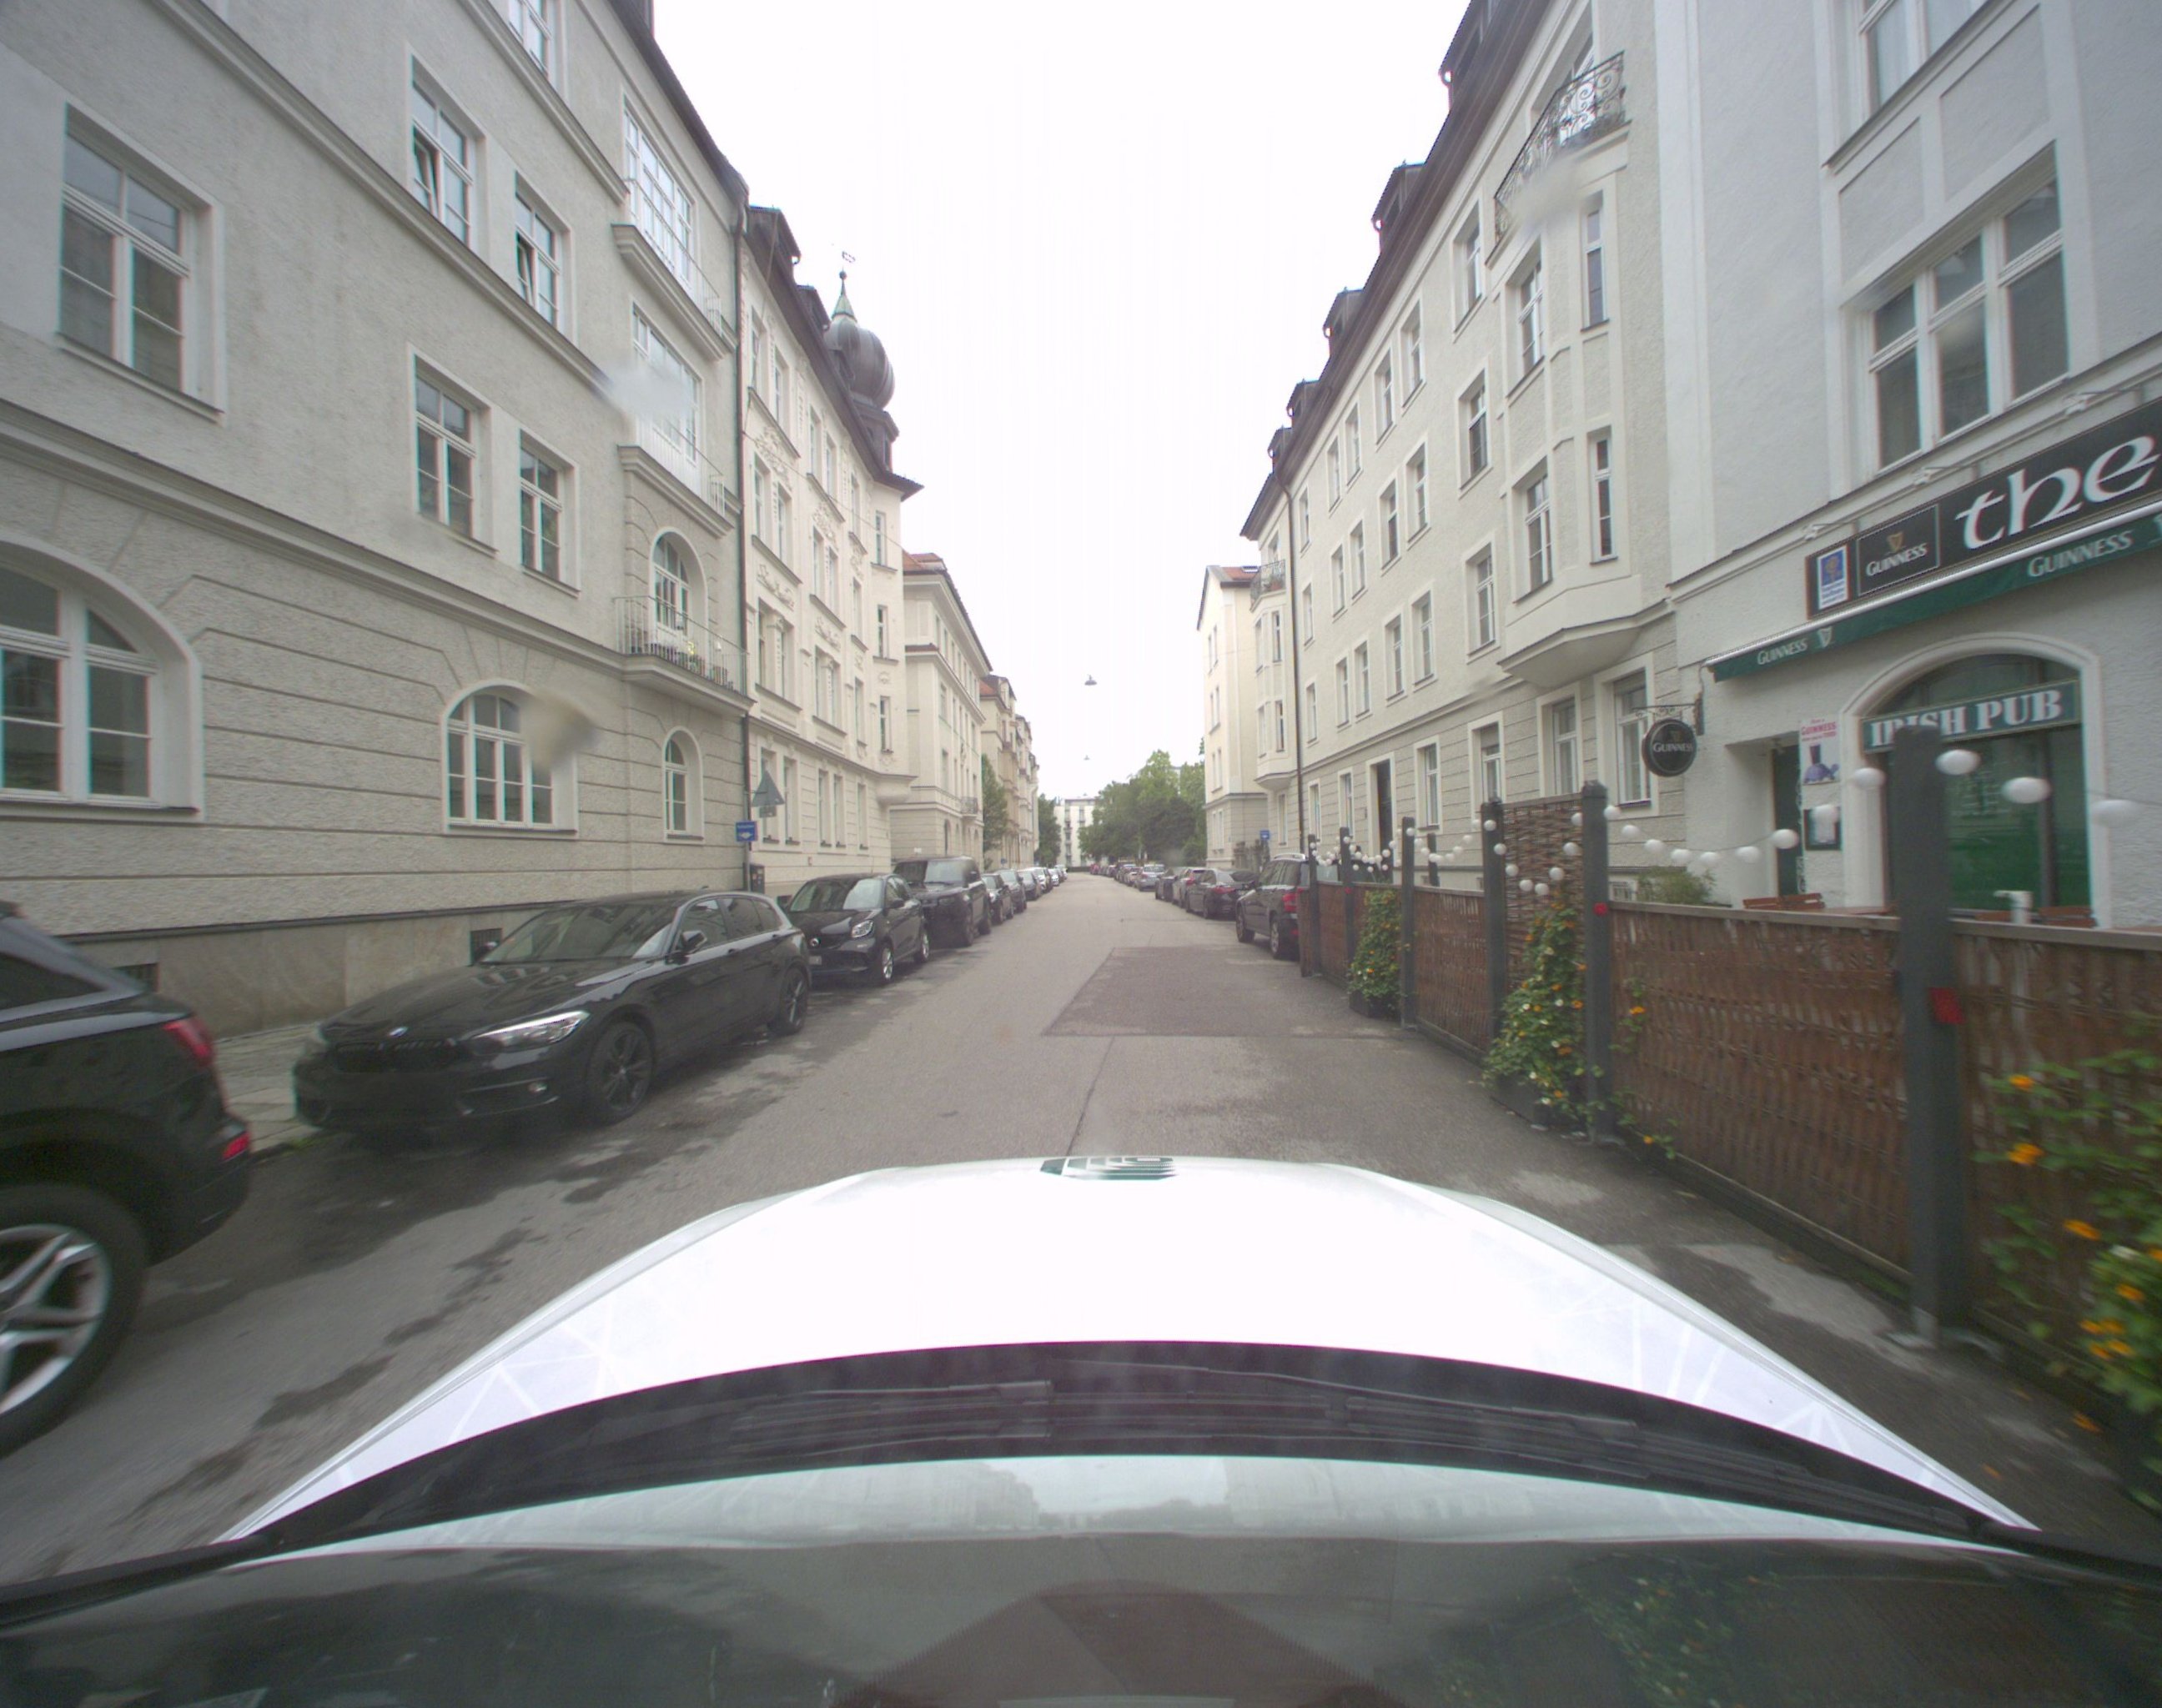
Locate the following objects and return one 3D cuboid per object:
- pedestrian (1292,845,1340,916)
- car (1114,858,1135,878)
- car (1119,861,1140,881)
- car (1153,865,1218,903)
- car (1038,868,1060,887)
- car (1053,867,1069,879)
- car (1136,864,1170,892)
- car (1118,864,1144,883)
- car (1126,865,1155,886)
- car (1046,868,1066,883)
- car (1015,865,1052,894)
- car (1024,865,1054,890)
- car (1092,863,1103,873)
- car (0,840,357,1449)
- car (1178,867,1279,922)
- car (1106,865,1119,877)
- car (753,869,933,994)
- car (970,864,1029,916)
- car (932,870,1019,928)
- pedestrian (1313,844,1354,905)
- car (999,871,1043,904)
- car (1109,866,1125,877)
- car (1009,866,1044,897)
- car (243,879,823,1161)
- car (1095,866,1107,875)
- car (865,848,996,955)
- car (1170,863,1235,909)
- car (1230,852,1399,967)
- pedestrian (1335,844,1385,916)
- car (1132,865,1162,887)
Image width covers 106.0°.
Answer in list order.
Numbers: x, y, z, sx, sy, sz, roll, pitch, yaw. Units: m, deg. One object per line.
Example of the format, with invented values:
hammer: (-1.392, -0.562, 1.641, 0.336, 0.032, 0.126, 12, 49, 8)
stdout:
pedestrian: (6.169, 0.685, 21.427, 0.880, 1.812, 1.110, -1, -1, -1)
car: (4.574, 1.451, 86.400, 1.945, 1.954, 4.664, 0, 0, 0)
car: (4.555, 1.637, 76.962, 1.717, 1.769, 4.413, 1, -1, 1)
car: (4.339, 1.211, 34.510, 1.988, 1.457, 4.709, -2, -1, -2)
car: (-2.765, 2.027, 71.411, 1.831, 1.434, 4.242, -3, 0, -1)
car: (-2.623, 2.502, 106.945, 1.830, 1.438, 4.274, -4, -1, 1)
car: (4.262, 1.388, 48.735, 1.815, 1.569, 4.402, 1, 0, 2)
car: (4.363, 1.721, 71.906, 1.746, 1.611, 4.418, 0, 0, -3)
car: (4.321, 1.556, 59.584, 1.778, 1.504, 4.064, 0, -1, 0)
car: (-2.638, 2.231, 86.038, 1.830, 1.436, 4.244, -4, -1, 1)
car: (-2.887, 1.543, 50.402, 1.908, 1.619, 4.571, -1, -1, 1)
car: (-2.860, 1.593, 56.009, 1.831, 1.619, 4.243, -1, -1, 0)
car: (3.109, 2.640, 154.078, 1.829, 1.927, 4.006, 1, 0, 2)
car: (-3.856, 0.775, 0.956, 1.868, 1.599, 4.437, -1, -1, 3)
car: (4.224, 1.117, 24.072, 1.832, 1.399, 4.967, 0, 0, -3)
car: (4.388, 2.331, 114.584, 1.510, 1.661, 3.670, 0, -1, -2)
car: (-3.392, 1.034, 12.286, 1.611, 1.513, 3.531, -3, -1, 0)
car: (-2.850, 1.230, 29.198, 1.722, 1.619, 4.118, -3, -1, -2)
car: (-2.971, 1.254, 23.897, 1.830, 1.394, 4.245, -3, -1, 1)
pedestrian: (7.704, 0.624, 24.871, 0.880, 1.813, 1.111, -1, -1, 1)
car: (-2.960, 1.630, 40.724, 1.787, 1.415, 4.277, -4, -1, 0)
car: (4.565, 2.263, 104.621, 1.832, 1.413, 4.341, 0, -1, 0)
car: (-3.007, 1.499, 45.422, 1.779, 1.541, 4.252, -3, -1, -3)
car: (-3.670, 0.975, 6.509, 1.647, 1.407, 4.095, -3, -1, 3)
car: (3.523, 2.876, 143.268, 1.835, 1.519, 3.942, 0, -1, -4)
car: (-3.052, 0.897, 17.565, 1.830, 1.894, 4.762, -3, -1, 0)
car: (4.322, 1.116, 29.556, 1.754, 1.486, 4.420, 1, 0, 1)
car: (3.850, 0.849, 14.174, 1.793, 1.675, 4.190, -1, -1, 1)
pedestrian: (7.202, 0.666, 21.087, 0.880, 1.786, 1.111, -2, -1, 0)
car: (4.414, 1.467, 54.676, 1.748, 1.406, 3.451, 0, -1, 0)
